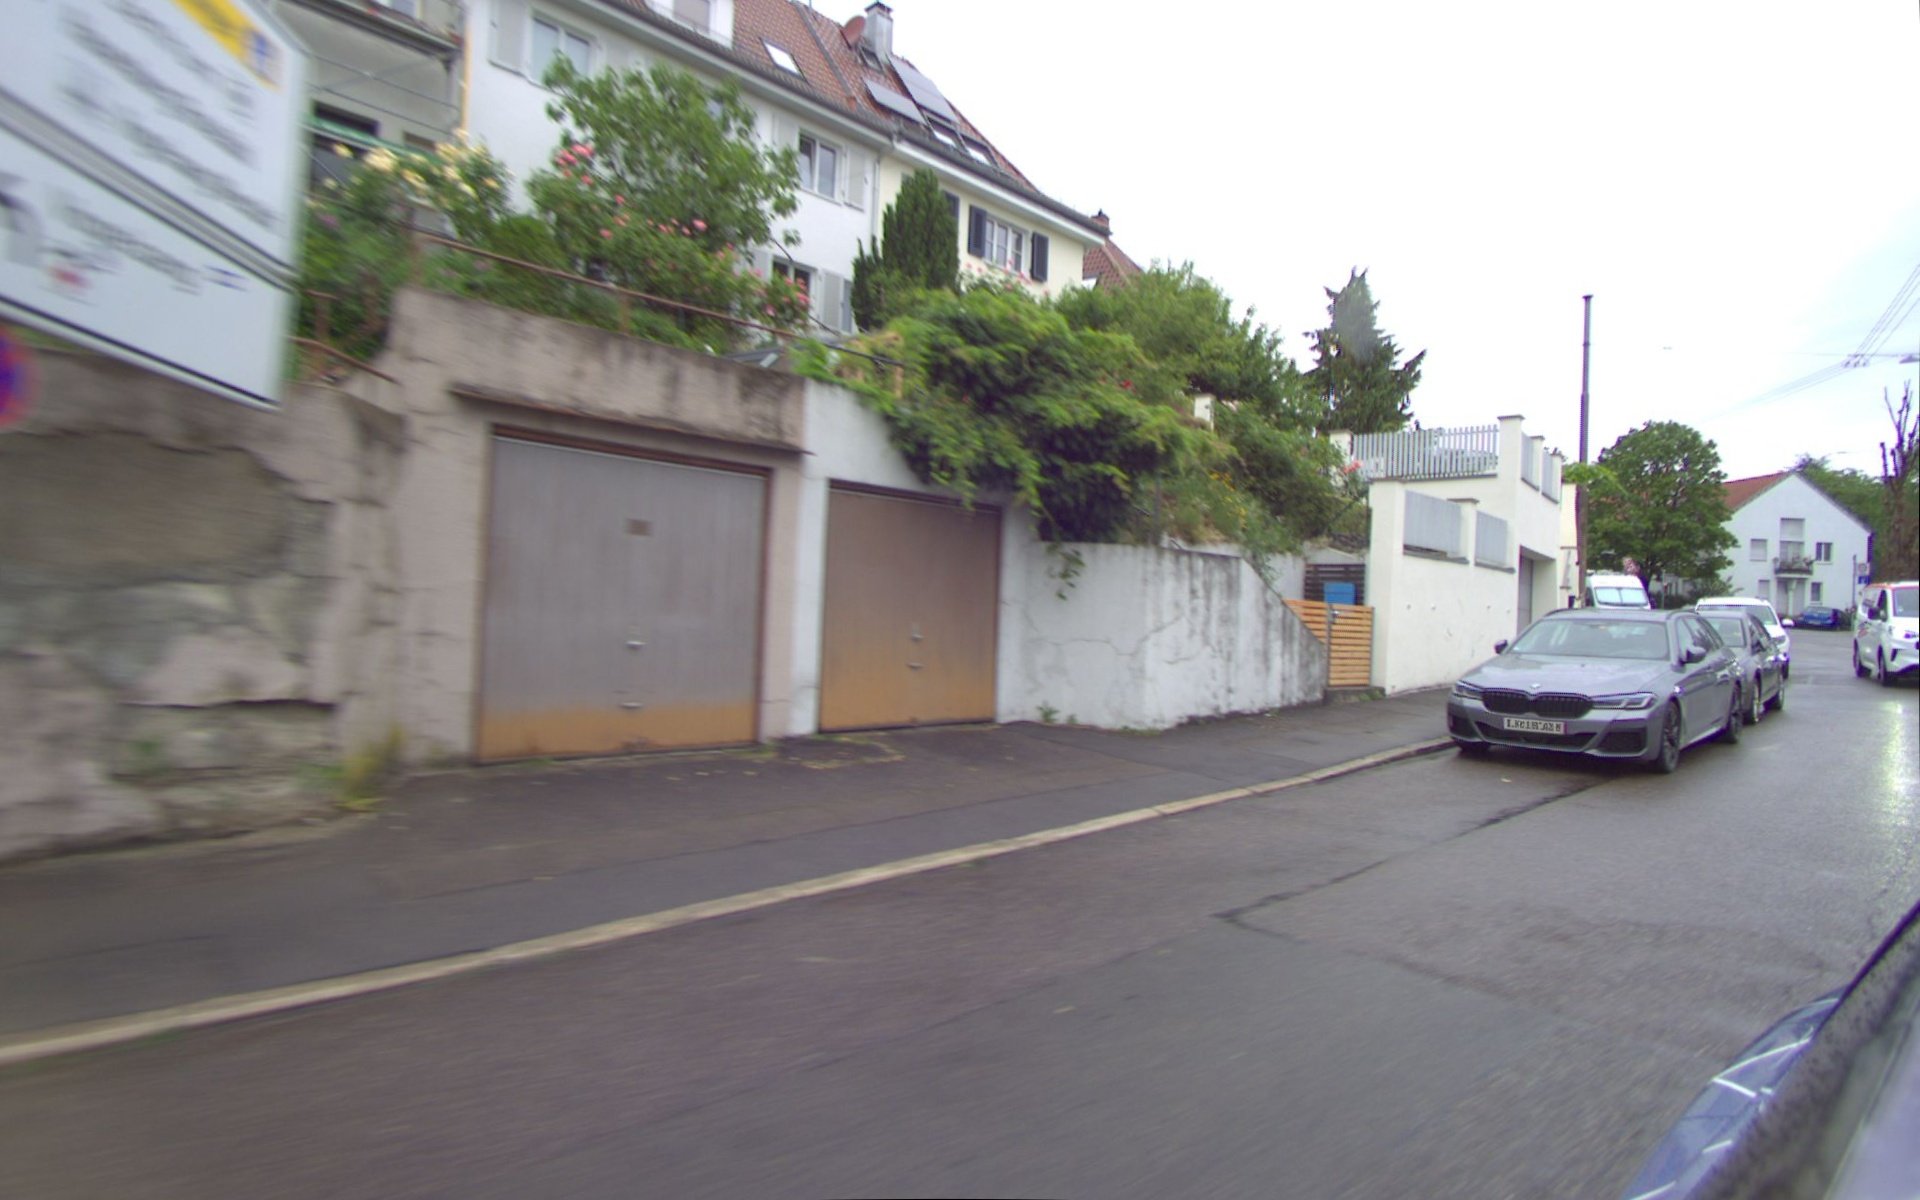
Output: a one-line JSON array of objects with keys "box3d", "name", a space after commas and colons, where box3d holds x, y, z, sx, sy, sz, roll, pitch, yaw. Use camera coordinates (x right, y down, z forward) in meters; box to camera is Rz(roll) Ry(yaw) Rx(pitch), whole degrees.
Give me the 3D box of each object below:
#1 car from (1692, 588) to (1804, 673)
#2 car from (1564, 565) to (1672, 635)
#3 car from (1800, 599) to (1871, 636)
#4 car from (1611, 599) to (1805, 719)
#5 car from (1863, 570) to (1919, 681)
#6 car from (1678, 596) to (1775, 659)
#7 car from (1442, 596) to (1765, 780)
[{"box3d": [17.320, 0.592, 22.399, 1.798, 1.670, 4.155, 1, 1, 36], "name": "car"}, {"box3d": [26.557, -0.090, 41.108, 2.077, 2.573, 5.590, 3, 3, 17], "name": "car"}, {"box3d": [45.478, 0.854, 52.542, 3.868, 1.686, 1.843, -1, 4, -35], "name": "car"}, {"box3d": [10.760, 0.733, 14.443, 4.105, 1.455, 1.642, 1, 0, -45], "name": "car"}, {"box3d": [18.863, 0.448, 19.257, 2.031, 1.964, 4.456, -1, -1, 36], "name": "car"}, {"box3d": [20.468, 0.670, 27.174, 1.671, 1.502, 4.154, 0, 1, 32], "name": "car"}, {"box3d": [6.964, 0.731, 10.728, 4.626, 1.515, 1.791, 0, 1, -43], "name": "car"}]
